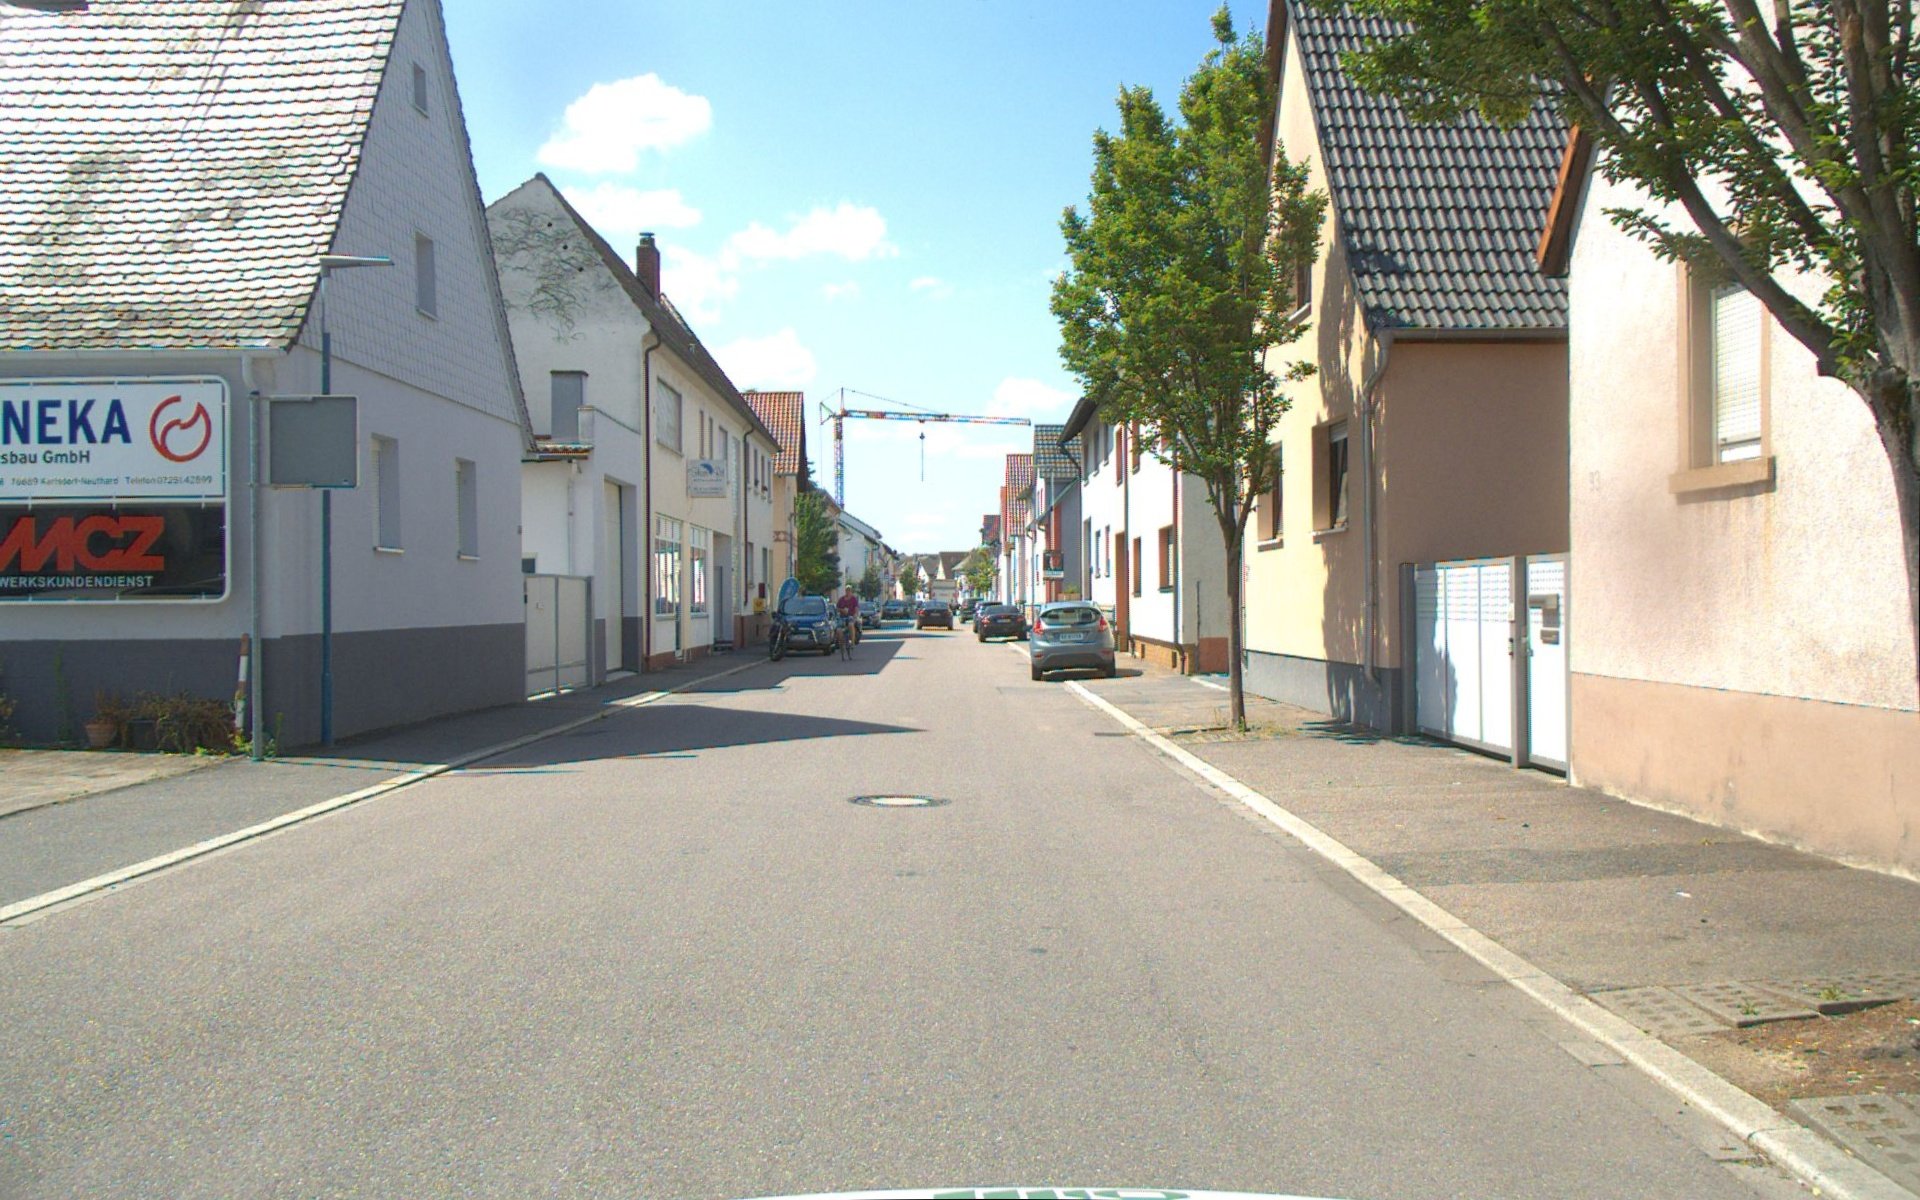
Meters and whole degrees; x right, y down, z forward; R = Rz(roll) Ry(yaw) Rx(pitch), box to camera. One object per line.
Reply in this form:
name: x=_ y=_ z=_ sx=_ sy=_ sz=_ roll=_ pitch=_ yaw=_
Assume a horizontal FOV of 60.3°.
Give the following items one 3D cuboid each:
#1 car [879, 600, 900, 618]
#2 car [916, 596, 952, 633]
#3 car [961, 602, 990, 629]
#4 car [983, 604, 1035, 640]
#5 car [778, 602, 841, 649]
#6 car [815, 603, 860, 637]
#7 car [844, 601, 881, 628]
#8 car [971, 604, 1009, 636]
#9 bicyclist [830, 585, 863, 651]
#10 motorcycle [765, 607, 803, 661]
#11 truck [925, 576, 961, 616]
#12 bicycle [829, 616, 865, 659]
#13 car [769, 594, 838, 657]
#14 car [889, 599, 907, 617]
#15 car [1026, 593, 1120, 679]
car: x=-6.079 y=0.766 z=142.326 sx=1.723 sy=1.551 sz=4.288 roll=-1 pitch=0 yaw=-1
car: x=-1.344 y=0.733 z=84.209 sx=1.747 sy=1.784 sz=3.998 roll=-2 pitch=0 yaw=-2
car: x=1.029 y=1.042 z=110.711 sx=1.694 sy=1.747 sz=4.273 roll=-1 pitch=0 yaw=-3
car: x=1.786 y=0.797 z=61.483 sx=1.778 sy=1.298 sz=4.146 roll=0 pitch=0 yaw=0
car: x=-4.847 y=0.805 z=53.675 sx=1.663 sy=1.436 sz=4.389 roll=0 pitch=0 yaw=-1
car: x=-5.332 y=0.862 z=72.518 sx=1.725 sy=1.398 sz=4.065 roll=1 pitch=0 yaw=-1
car: x=-5.469 y=0.803 z=92.959 sx=1.732 sy=1.485 sz=4.437 roll=0 pitch=0 yaw=1
car: x=1.406 y=0.951 z=78.280 sx=1.654 sy=1.447 sz=3.656 roll=-1 pitch=0 yaw=-1
bicyclist: x=-2.883 y=0.461 z=42.207 sx=0.731 sy=1.665 sz=0.957 roll=0 pitch=0 yaw=2
motorcycle: x=-4.565 y=0.870 z=42.959 sx=0.792 sy=1.335 sz=2.105 roll=0 pitch=0 yaw=-1
truck: x=-1.843 y=-0.381 z=172.005 sx=3.311 sy=3.933 sz=13.919 roll=-1 pitch=0 yaw=-2
bicycle: x=-2.878 y=0.941 z=42.296 sx=0.727 sy=1.066 sz=1.941 roll=0 pitch=0 yaw=2
car: x=-4.459 y=0.687 z=47.558 sx=1.683 sy=1.668 sz=4.147 roll=-2 pitch=0 yaw=-2
car: x=-5.599 y=0.717 z=149.595 sx=1.620 sy=1.637 sz=4.060 roll=-1 pitch=0 yaw=-1
car: x=2.244 y=0.676 z=33.197 sx=1.686 sy=1.507 sz=3.751 roll=-4 pitch=0 yaw=3
